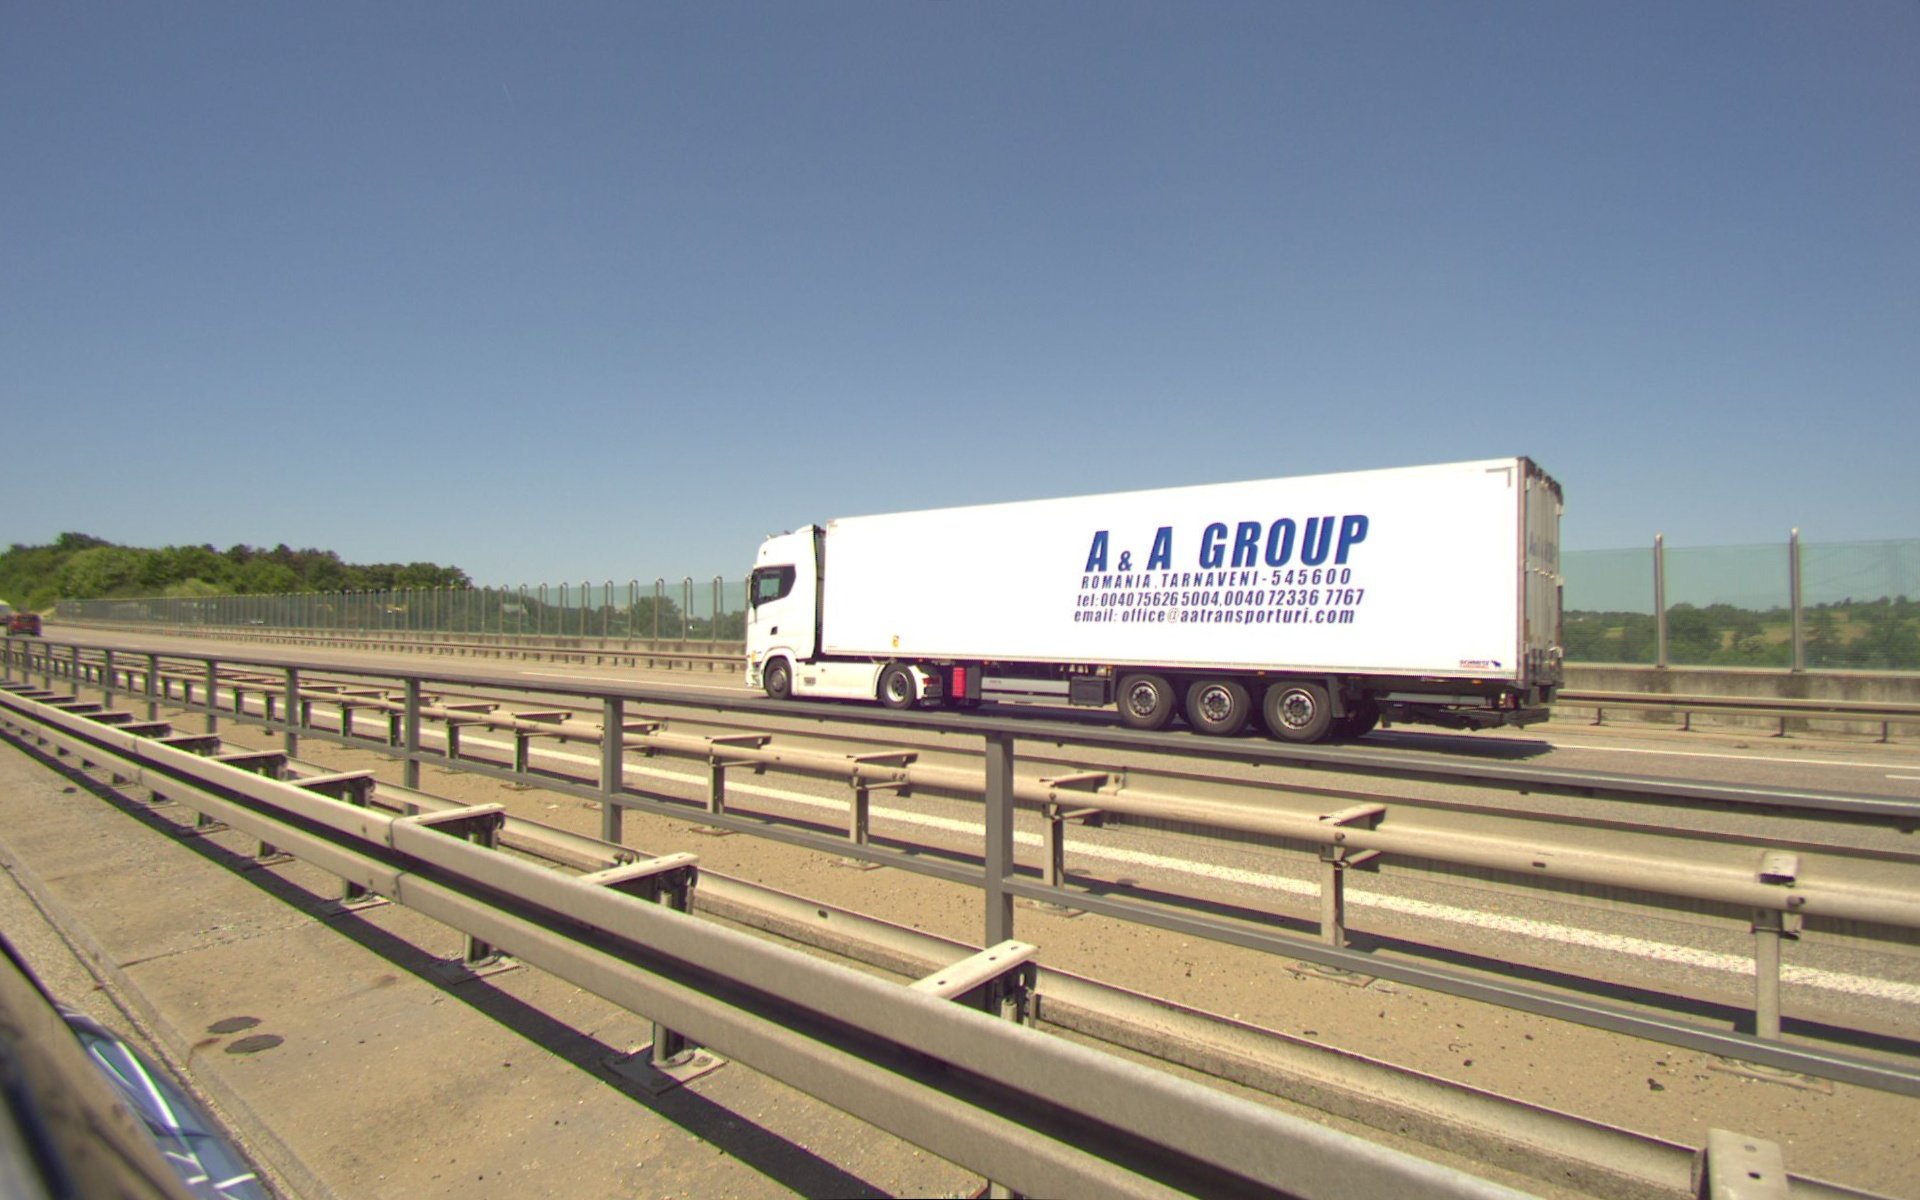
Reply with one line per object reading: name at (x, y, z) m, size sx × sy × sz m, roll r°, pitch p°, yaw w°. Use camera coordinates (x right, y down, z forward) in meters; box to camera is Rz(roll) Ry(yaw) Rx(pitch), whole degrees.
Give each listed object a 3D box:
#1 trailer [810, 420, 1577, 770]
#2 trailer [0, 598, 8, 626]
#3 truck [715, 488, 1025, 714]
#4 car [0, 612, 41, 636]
trailer at (2.914, 0.014, 18.146) m, size 13.655 × 4.340 × 2.875 m, roll 0°, pitch -2°, yaw 41°
trailer at (-129.656, 1.542, 135.126) m, size 10.898 × 3.567 × 2.472 m, roll 0°, pitch -2°, yaw 41°
truck at (-2.179, 0.098, 22.708) m, size 6.855 × 4.326 × 2.898 m, roll 0°, pitch -4°, yaw 42°
car at (-75.657, 1.917, 81.438) m, size 4.744 × 1.836 × 1.821 m, roll 0°, pitch -2°, yaw 40°
